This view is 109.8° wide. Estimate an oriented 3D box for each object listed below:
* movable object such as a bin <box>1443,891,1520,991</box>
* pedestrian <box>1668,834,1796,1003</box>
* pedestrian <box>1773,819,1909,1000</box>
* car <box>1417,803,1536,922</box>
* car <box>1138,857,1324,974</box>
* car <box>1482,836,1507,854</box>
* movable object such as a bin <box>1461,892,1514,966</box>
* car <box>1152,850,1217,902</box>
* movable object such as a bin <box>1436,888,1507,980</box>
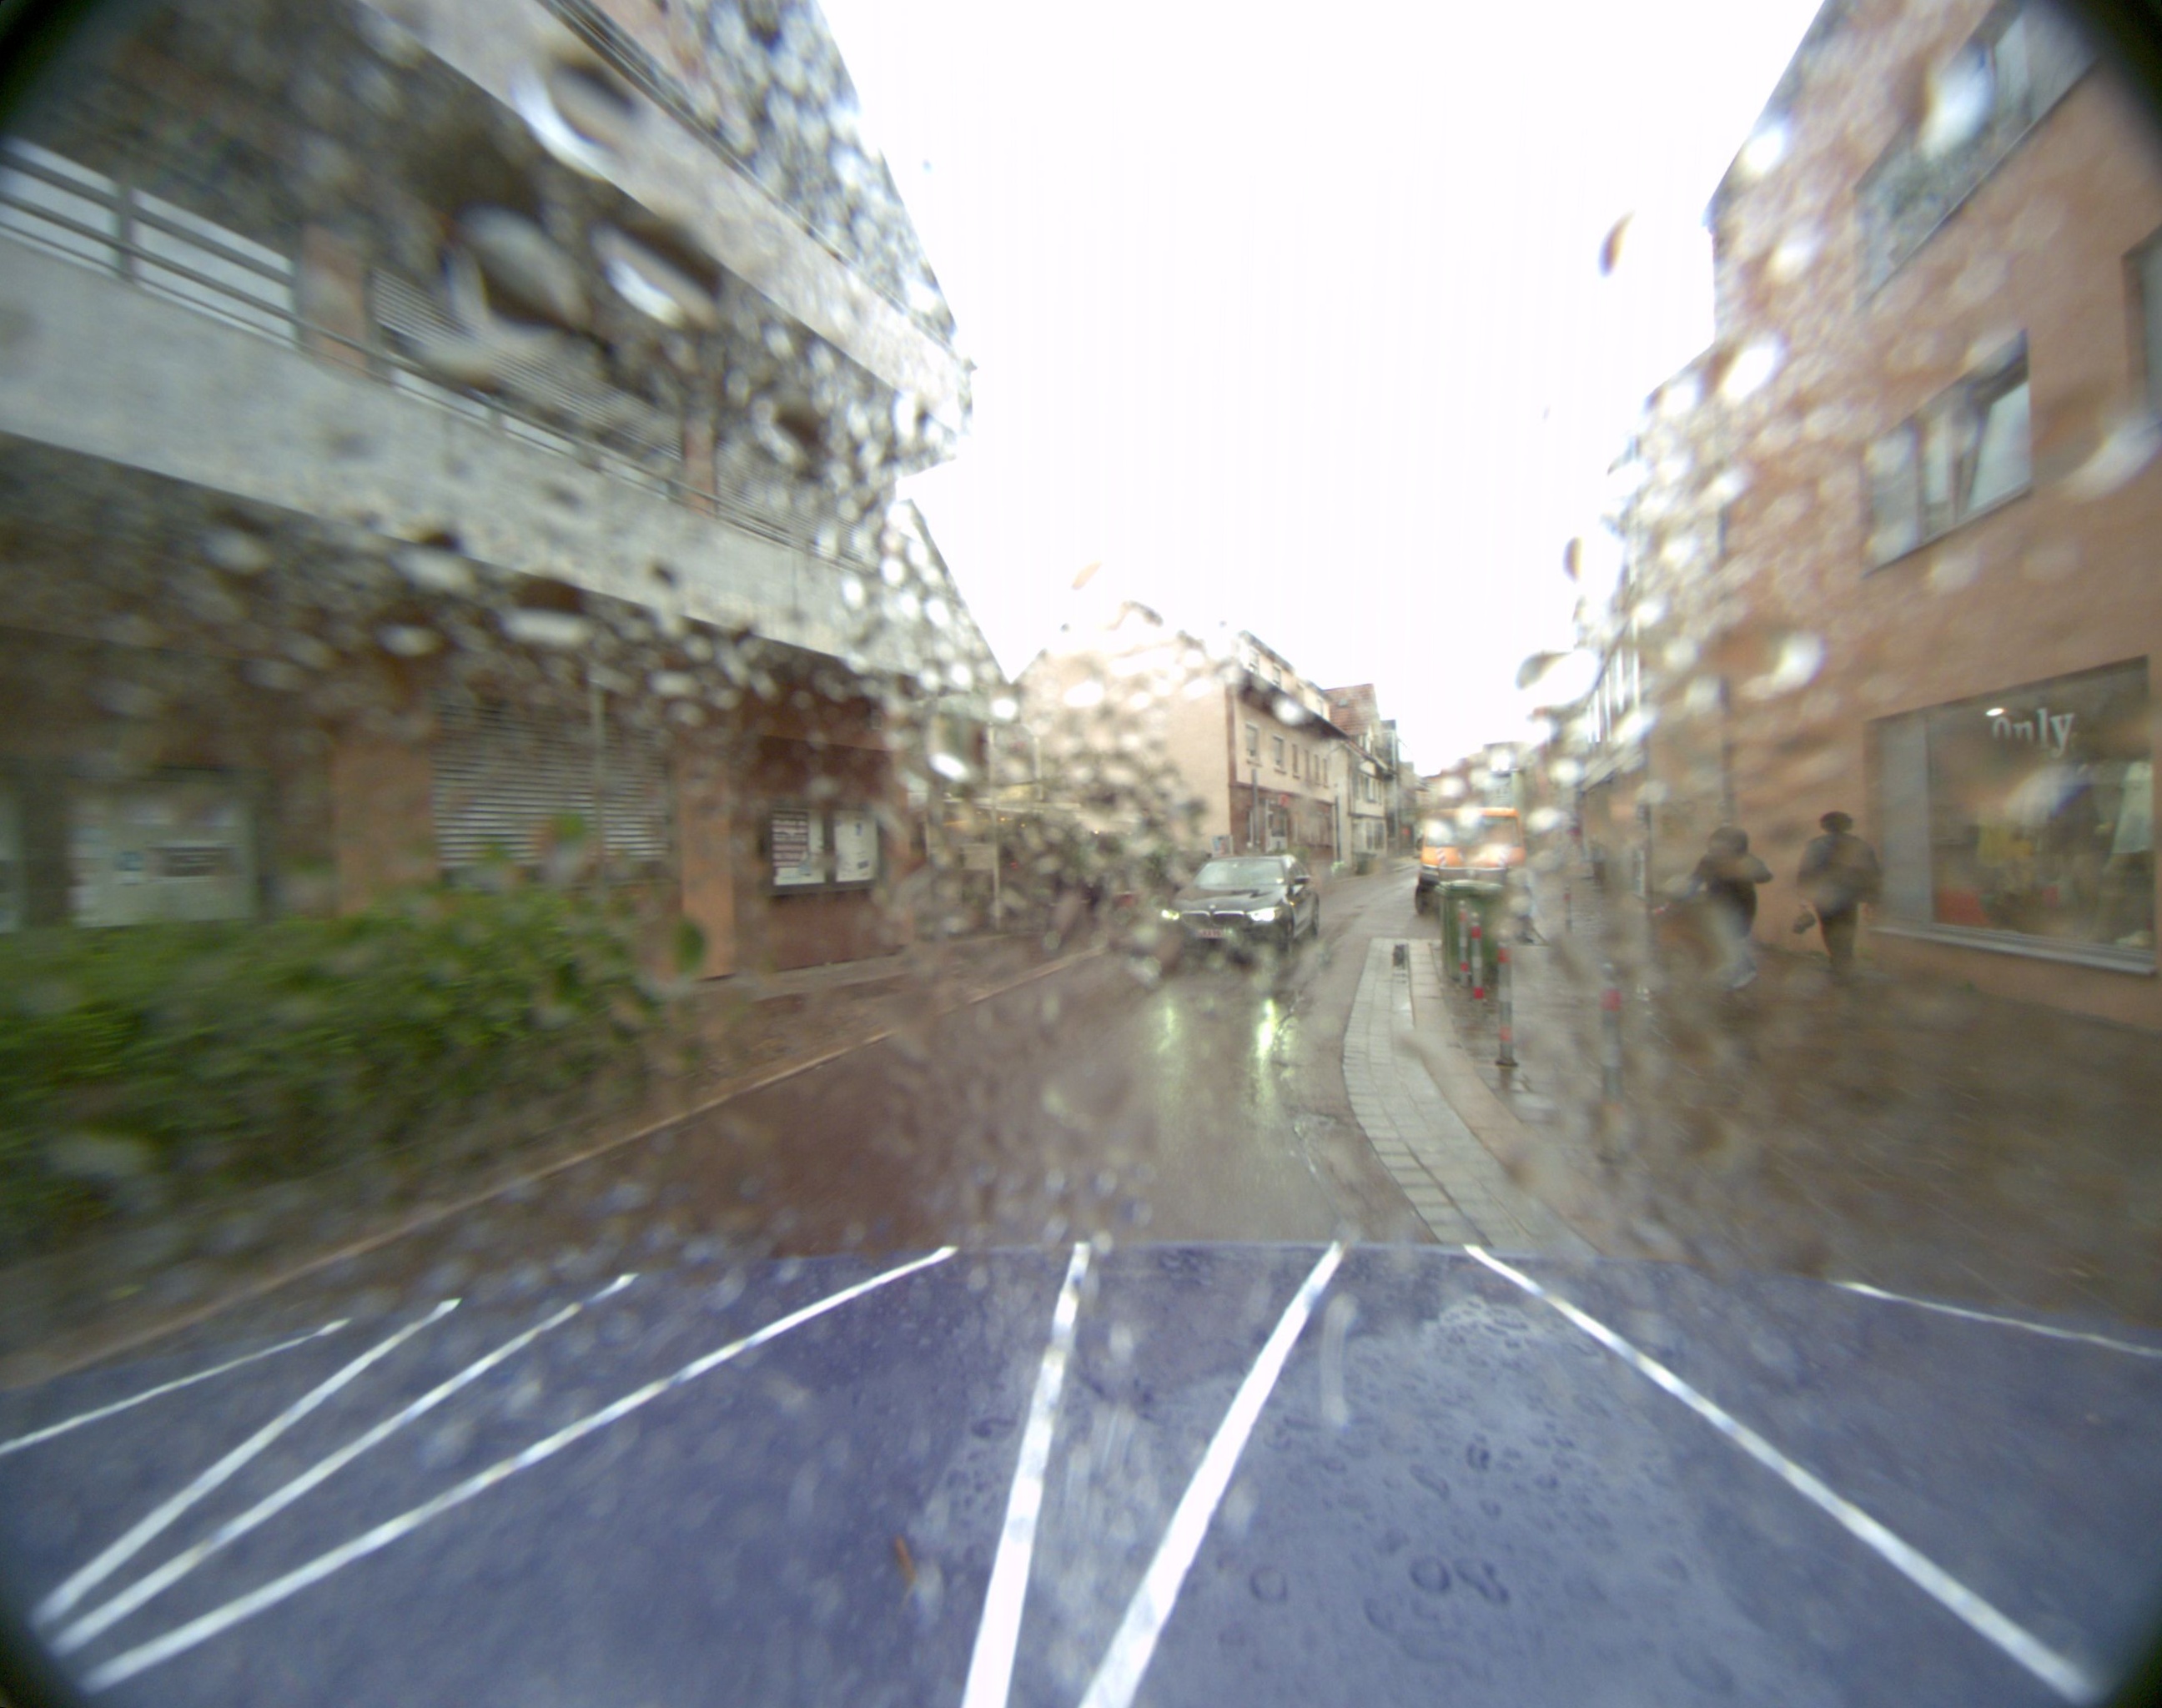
[{"bbox_3d":[4.460,0.953,8.509,0.657,1.031,0.611,-2,1,19],"label":"movable object such as a bin"},{"bbox_3d":[6.601,0.631,7.748,0.715,1.630,0.746,-3,1,21],"label":"pedestrian"},{"bbox_3d":[7.551,0.527,7.591,0.623,1.702,0.810,-3,1,21],"label":"pedestrian"},{"bbox_3d":[8.908,0.111,17.268,1.995,2.227,5.870,-1,1,27],"label":"car"},{"bbox_3d":[2.602,0.819,12.175,1.944,1.394,4.426,-2,1,24],"label":"car"},{"bbox_3d":[32.129,-0.702,59.001,1.629,1.359,3.495,-2,0,29],"label":"car"},{"bbox_3d":[5.429,0.991,10.150,0.582,0.921,0.482,-3,0,29],"label":"movable object such as a bin"},{"bbox_3d":[3.021,0.596,22.695,1.737,1.349,3.938,-2,1,6],"label":"car"},{"bbox_3d":[4.713,0.955,9.205,0.657,1.031,0.611,-1,1,19],"label":"movable object such as a bin"}]
